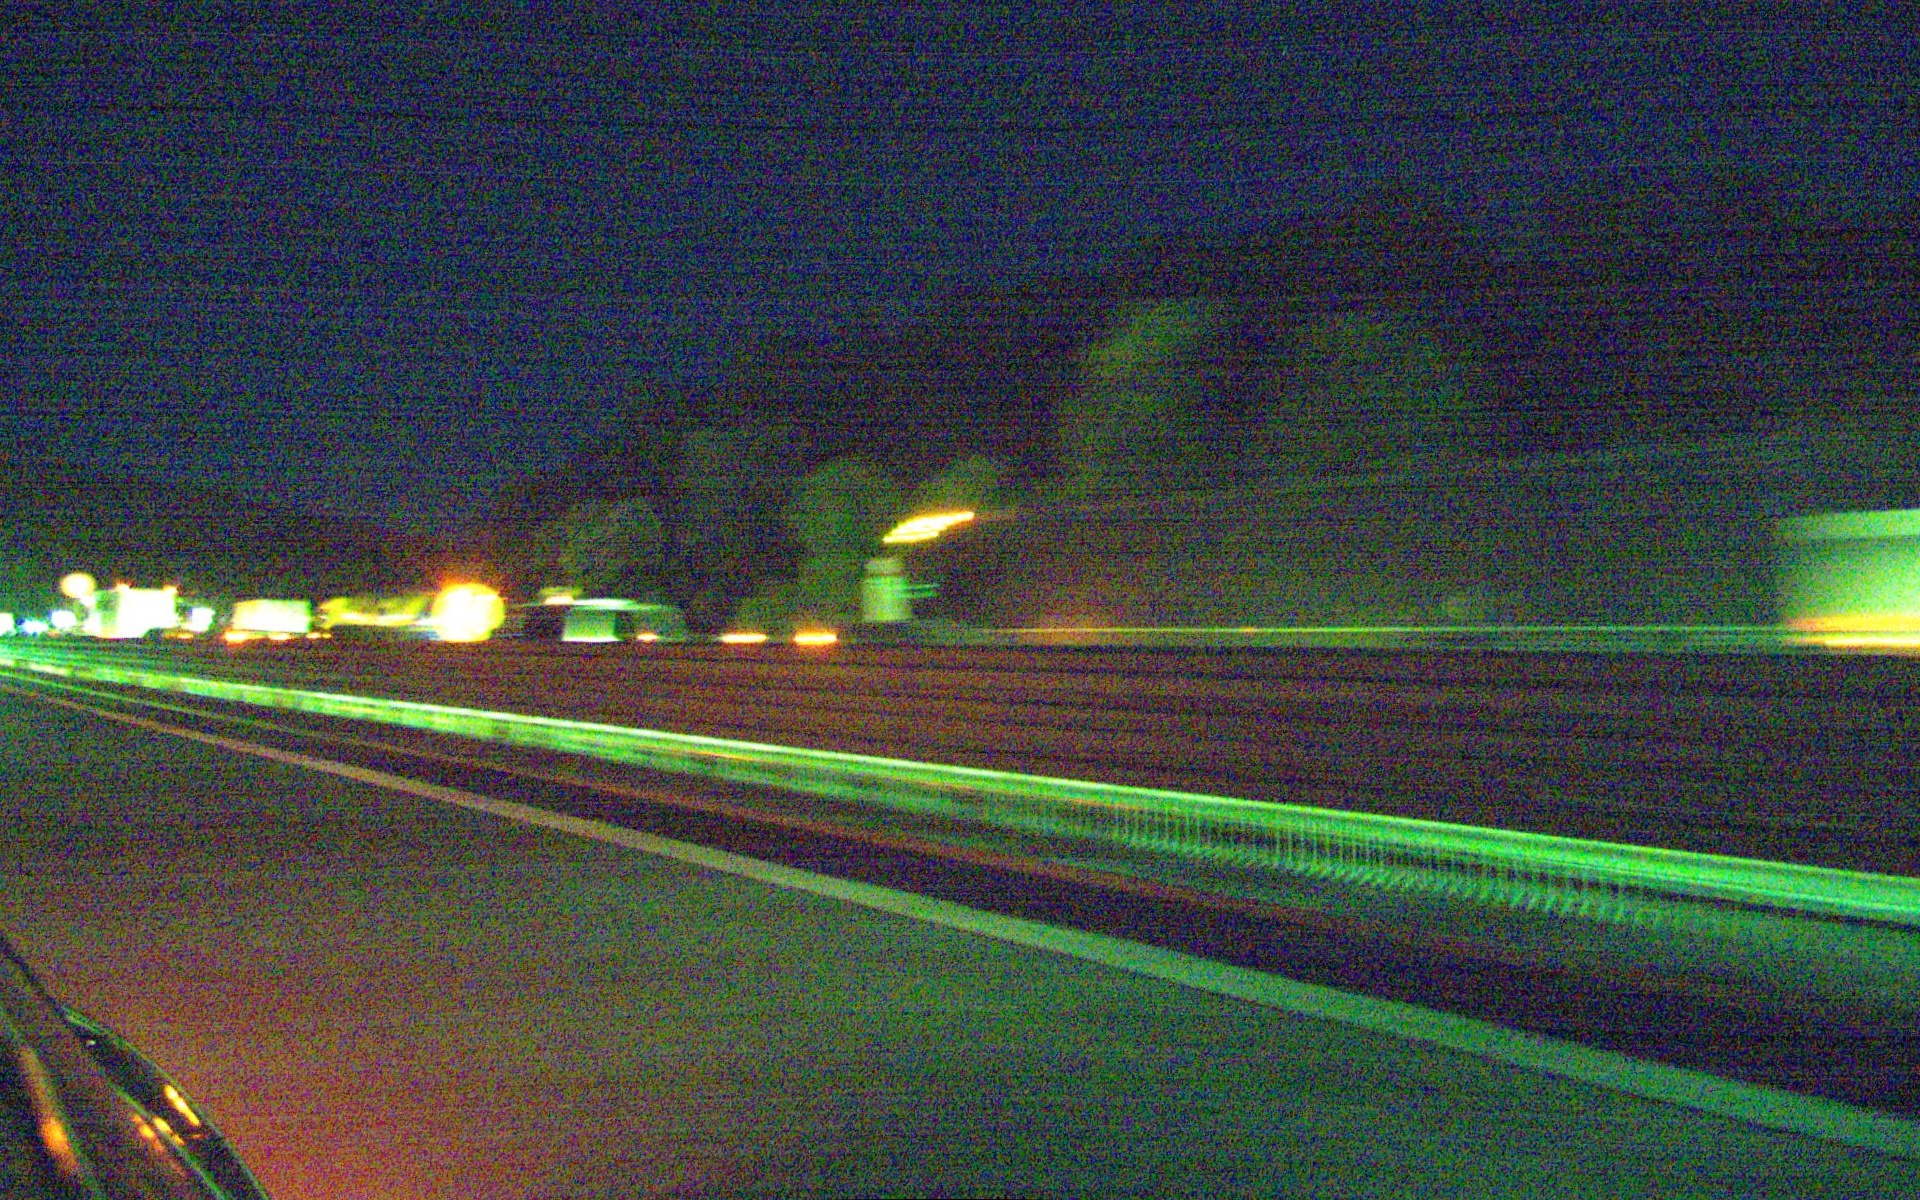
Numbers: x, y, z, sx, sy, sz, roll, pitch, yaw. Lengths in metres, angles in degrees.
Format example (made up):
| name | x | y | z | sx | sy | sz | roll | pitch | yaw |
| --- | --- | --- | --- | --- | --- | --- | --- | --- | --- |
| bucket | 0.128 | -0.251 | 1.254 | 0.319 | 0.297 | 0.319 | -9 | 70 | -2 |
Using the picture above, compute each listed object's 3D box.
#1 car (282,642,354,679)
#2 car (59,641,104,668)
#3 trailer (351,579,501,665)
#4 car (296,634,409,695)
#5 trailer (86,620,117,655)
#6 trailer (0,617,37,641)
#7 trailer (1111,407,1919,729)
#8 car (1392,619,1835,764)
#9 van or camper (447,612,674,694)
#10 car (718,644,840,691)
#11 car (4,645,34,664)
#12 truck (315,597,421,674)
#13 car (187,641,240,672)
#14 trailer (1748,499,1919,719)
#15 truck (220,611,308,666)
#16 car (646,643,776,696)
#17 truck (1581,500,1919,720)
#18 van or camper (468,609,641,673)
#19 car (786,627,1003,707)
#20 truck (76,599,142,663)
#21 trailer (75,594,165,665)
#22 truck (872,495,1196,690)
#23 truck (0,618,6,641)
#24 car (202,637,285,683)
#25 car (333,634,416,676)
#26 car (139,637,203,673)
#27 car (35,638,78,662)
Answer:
| name | x | y | z | sx | sy | sz | roll | pitch | yaw |
| --- | --- | --- | --- | --- | --- | --- | --- | --- | --- |
| car | -25.583 | 2.365 | 40.264 | 4.002 | 1.364 | 1.552 | -2 | -2 | 45 |
| car | -47.647 | 2.948 | 54.856 | 4.002 | 1.364 | 1.552 | -2 | -2 | 45 |
| trailer | -22.305 | 0.842 | 41.974 | 9.003 | 3.199 | 2.578 | -1 | 1 | 43 |
| car | -16.195 | 1.660 | 26.914 | 4.002 | 1.482 | 1.639 | -2 | -2 | 45 |
| trailer | -115.672 | 5.051 | 136.262 | 2.804 | 4.499 | 14.542 | 4 | -4 | -41 |
| trailer | -174.515 | 5.235 | 185.898 | 2.792 | 4.005 | 15.816 | 0 | 0 | -25 |
| trailer | 7.776 | -0.274 | 15.860 | 11.174 | 3.655 | 2.369 | -1 | -1 | 41 |
| car | 7.268 | 0.924 | 11.547 | 4.002 | 1.364 | 1.552 | -2 | -2 | 45 |
| van or camper | -7.774 | 0.959 | 19.391 | 5.348 | 1.364 | 1.801 | -2 | -2 | 41 |
| car | -6.033 | 2.182 | 33.471 | 4.239 | 1.364 | 1.777 | -2 | -2 | 43 |
| car | -82.238 | 4.746 | 88.465 | 1.811 | 1.565 | 4.518 | 3 | -3 | -42 |
| truck | -27.316 | 1.555 | 46.595 | 5.795 | 3.243 | 2.615 | -1 | 1 | 43 |
| car | -35.776 | 2.680 | 48.456 | 1.552 | 1.364 | 4.003 | 1 | -2 | -44 |
| trailer | 17.617 | 0.067 | 13.466 | 11.168 | 3.235 | 2.370 | -1 | -1 | 39 |
| truck | -40.463 | 2.194 | 58.718 | 8.172 | 2.982 | 2.529 | -2 | -2 | 43 |
| car | -7.156 | 1.922 | 28.858 | 4.239 | 1.364 | 1.553 | -2 | -2 | 43 |
| truck | 13.425 | 0.178 | 16.893 | 4.902 | 3.235 | 2.370 | -1 | -1 | 39 |
| van or camper | -14.324 | 1.408 | 35.440 | 7.632 | 2.029 | 2.166 | -2 | -2 | 39 |
| car | -1.361 | 1.226 | 19.685 | 4.239 | 1.364 | 1.777 | -2 | -2 | 43 |
| truck | -58.958 | 2.075 | 70.064 | 3.072 | 4.128 | 7.083 | -2 | 1 | -43 |
| trailer | -54.192 | 1.754 | 65.120 | 12.453 | 4.119 | 3.056 | -1 | 1 | 44 |
| truck | 1.350 | -0.040 | 21.478 | 6.720 | 3.540 | 2.378 | -2 | -1 | 41 |
| truck | -171.151 | 5.204 | 178.733 | 2.852 | 4.002 | 4.013 | 0 | 0 | -25 |
| car | -23.391 | 1.919 | 32.994 | 4.002 | 1.364 | 1.552 | -2 | -2 | 45 |
| car | -20.780 | 1.905 | 35.828 | 4.002 | 1.364 | 1.552 | -2 | -2 | 45 |
| car | -31.836 | 2.185 | 40.805 | 4.002 | 1.364 | 1.552 | -2 | -2 | 45 |
| car | -56.666 | 3.110 | 63.466 | 1.852 | 1.437 | 4.516 | 0 | -2 | -44 |
